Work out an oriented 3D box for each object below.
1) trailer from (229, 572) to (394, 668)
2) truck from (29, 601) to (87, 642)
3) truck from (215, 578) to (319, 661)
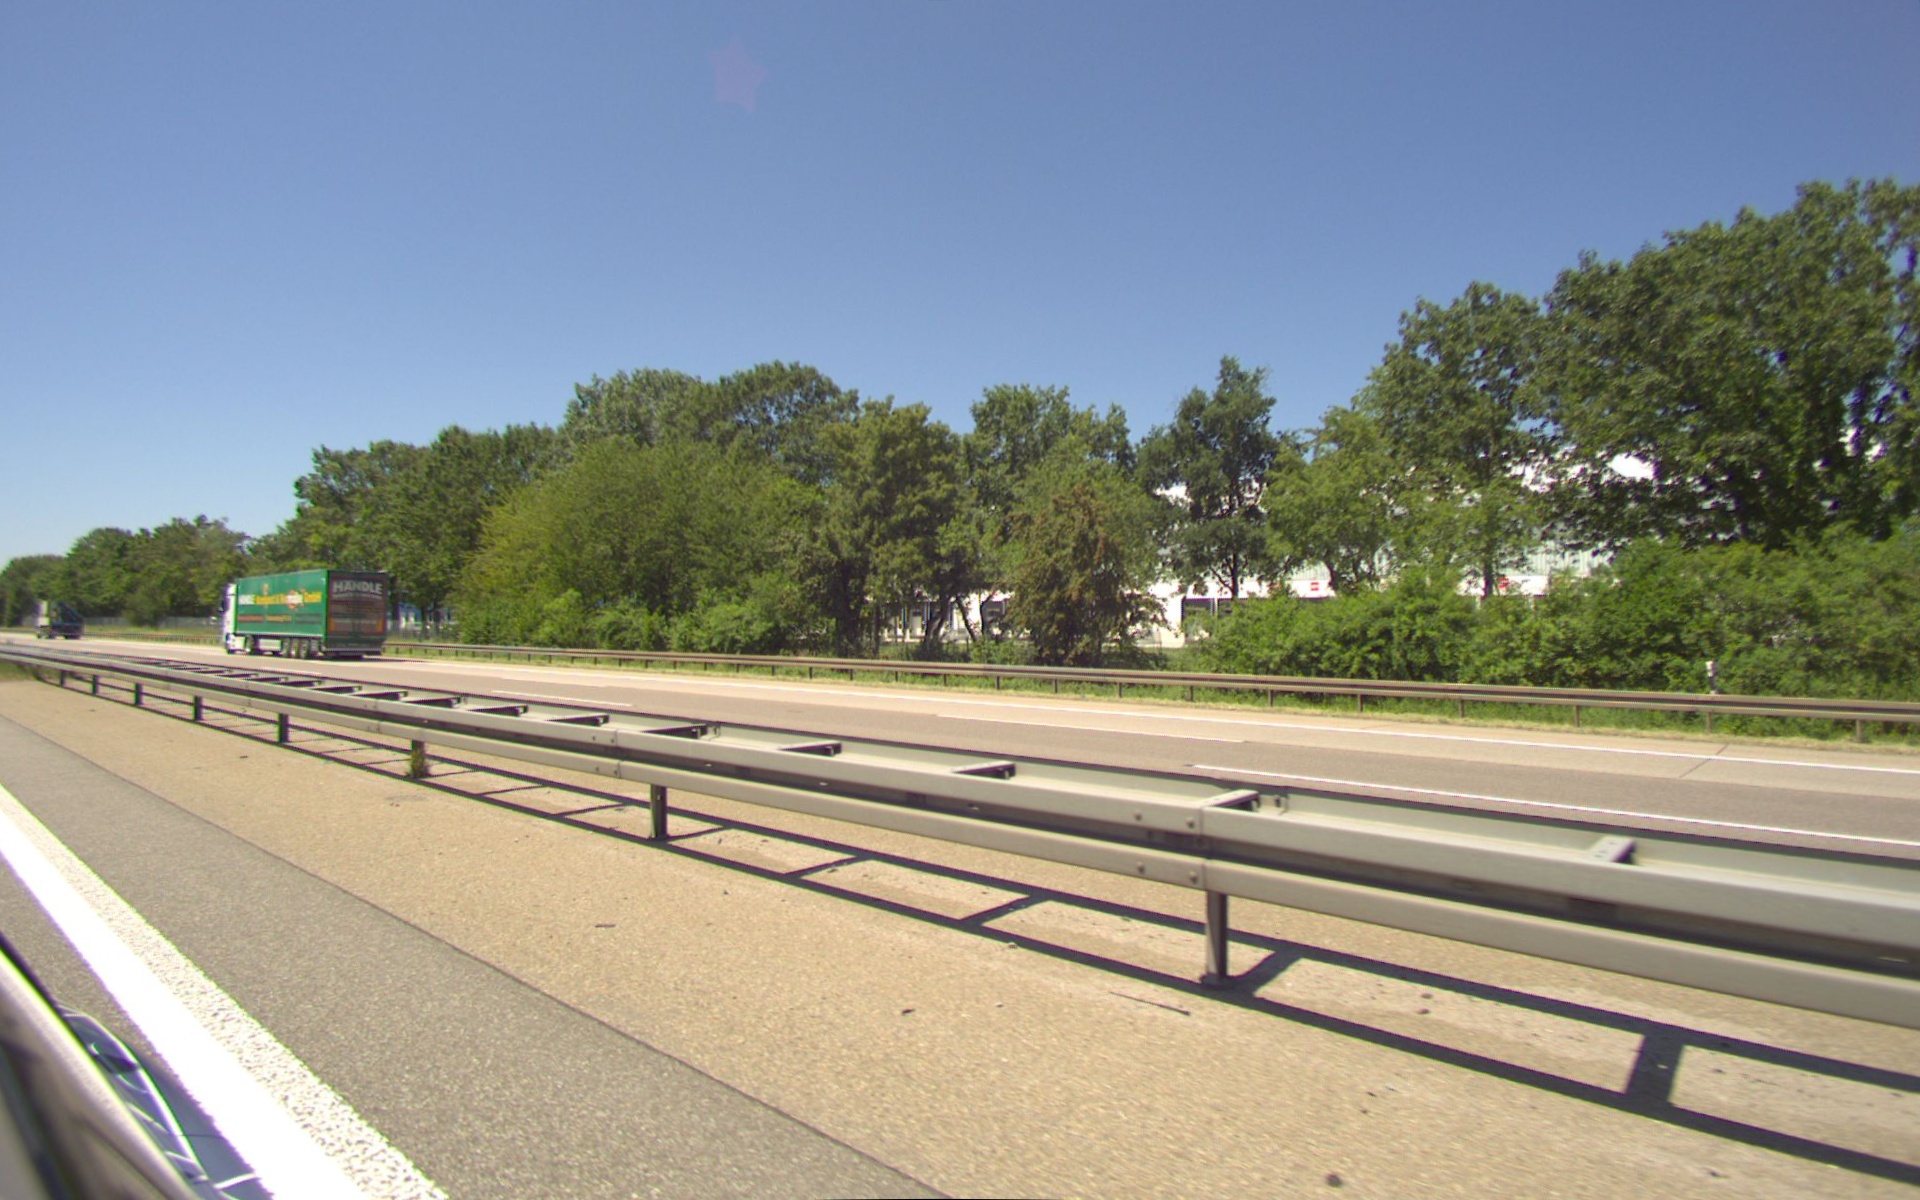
[{"bbox_3d":[-31.684,1.002,49.019,13.674,4.075,2.847,-1,-4,41],"label":"trailer"},{"bbox_3d":[-88.540,2.142,99.248,9.596,3.820,2.973,-1,-2,41],"label":"truck"},{"bbox_3d":[-36.515,1.073,53.269,6.329,4.075,2.847,-1,-4,41],"label":"truck"}]
